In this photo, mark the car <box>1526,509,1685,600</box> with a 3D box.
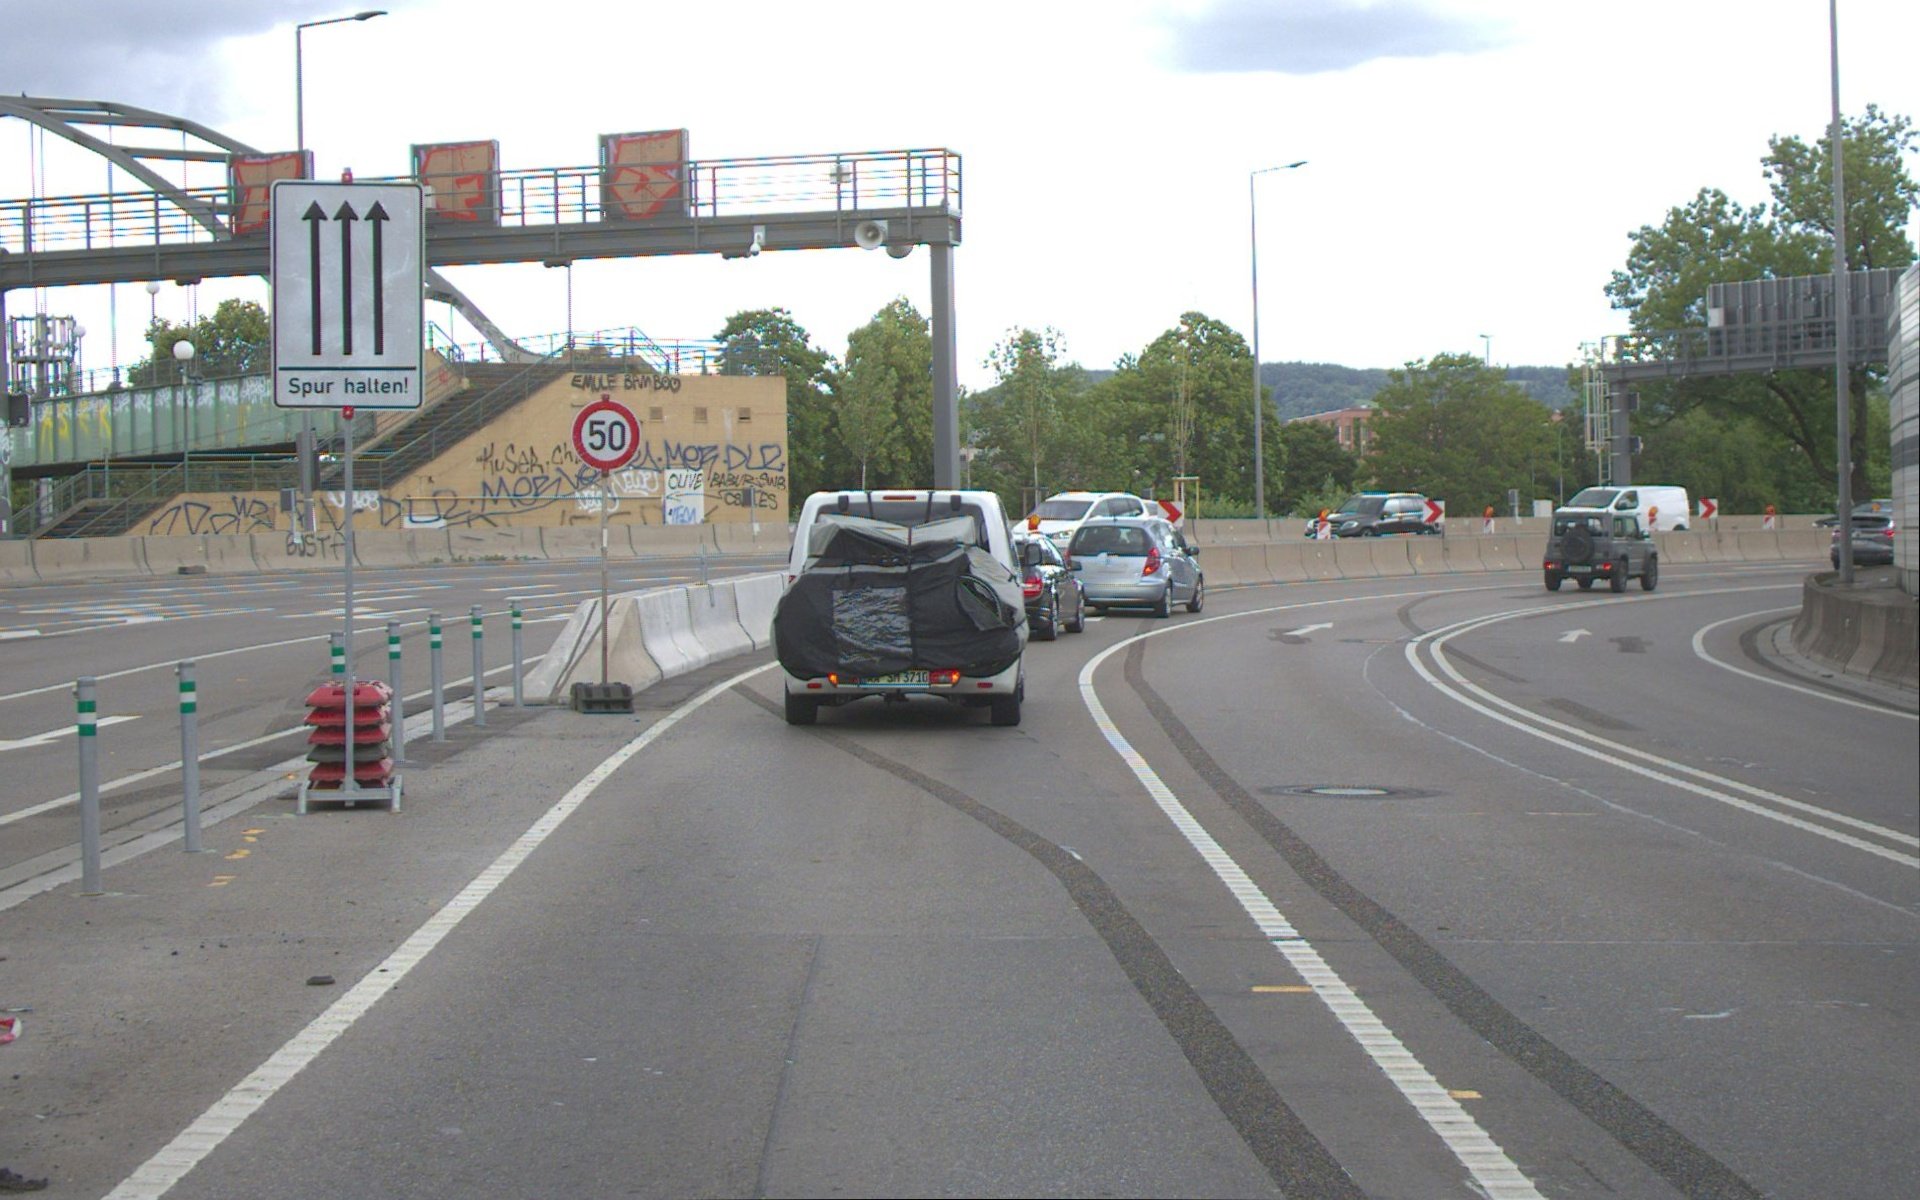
[{"bbox_3d":[13.645,-0.966,72.500,1.997,1.853,3.993,0,1,32],"label":"car"}]

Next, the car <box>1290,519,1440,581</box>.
[{"bbox_3d":[11.392,-1.423,96.420,1.998,1.689,4.917,0,1,36],"label":"car"}]

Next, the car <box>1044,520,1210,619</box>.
[{"bbox_3d":[2.712,-0.521,55.038,1.922,1.483,4.063,0,2,14],"label":"car"}]

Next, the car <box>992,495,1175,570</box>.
[{"bbox_3d":[3.020,-1.628,82.852,1.954,1.744,5.264,0,1,34],"label":"car"}]

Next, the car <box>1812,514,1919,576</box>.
[{"bbox_3d":[23.180,-1.415,87.154,2.015,1.483,4.058,1,2,31],"label":"car"}]

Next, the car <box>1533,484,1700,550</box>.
[{"bbox_3d":[19.835,-2.492,103.723,5.090,1.945,2.244,-1,2,-40],"label":"car"}]

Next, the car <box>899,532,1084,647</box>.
[{"bbox_3d":[0.466,-0.167,45.482,1.815,1.429,4.064,-1,1,9],"label":"car"}]

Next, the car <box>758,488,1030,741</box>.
[{"bbox_3d":[-0.581,0.073,28.031,1.993,1.853,5.641,0,1,-2],"label":"car"}]
